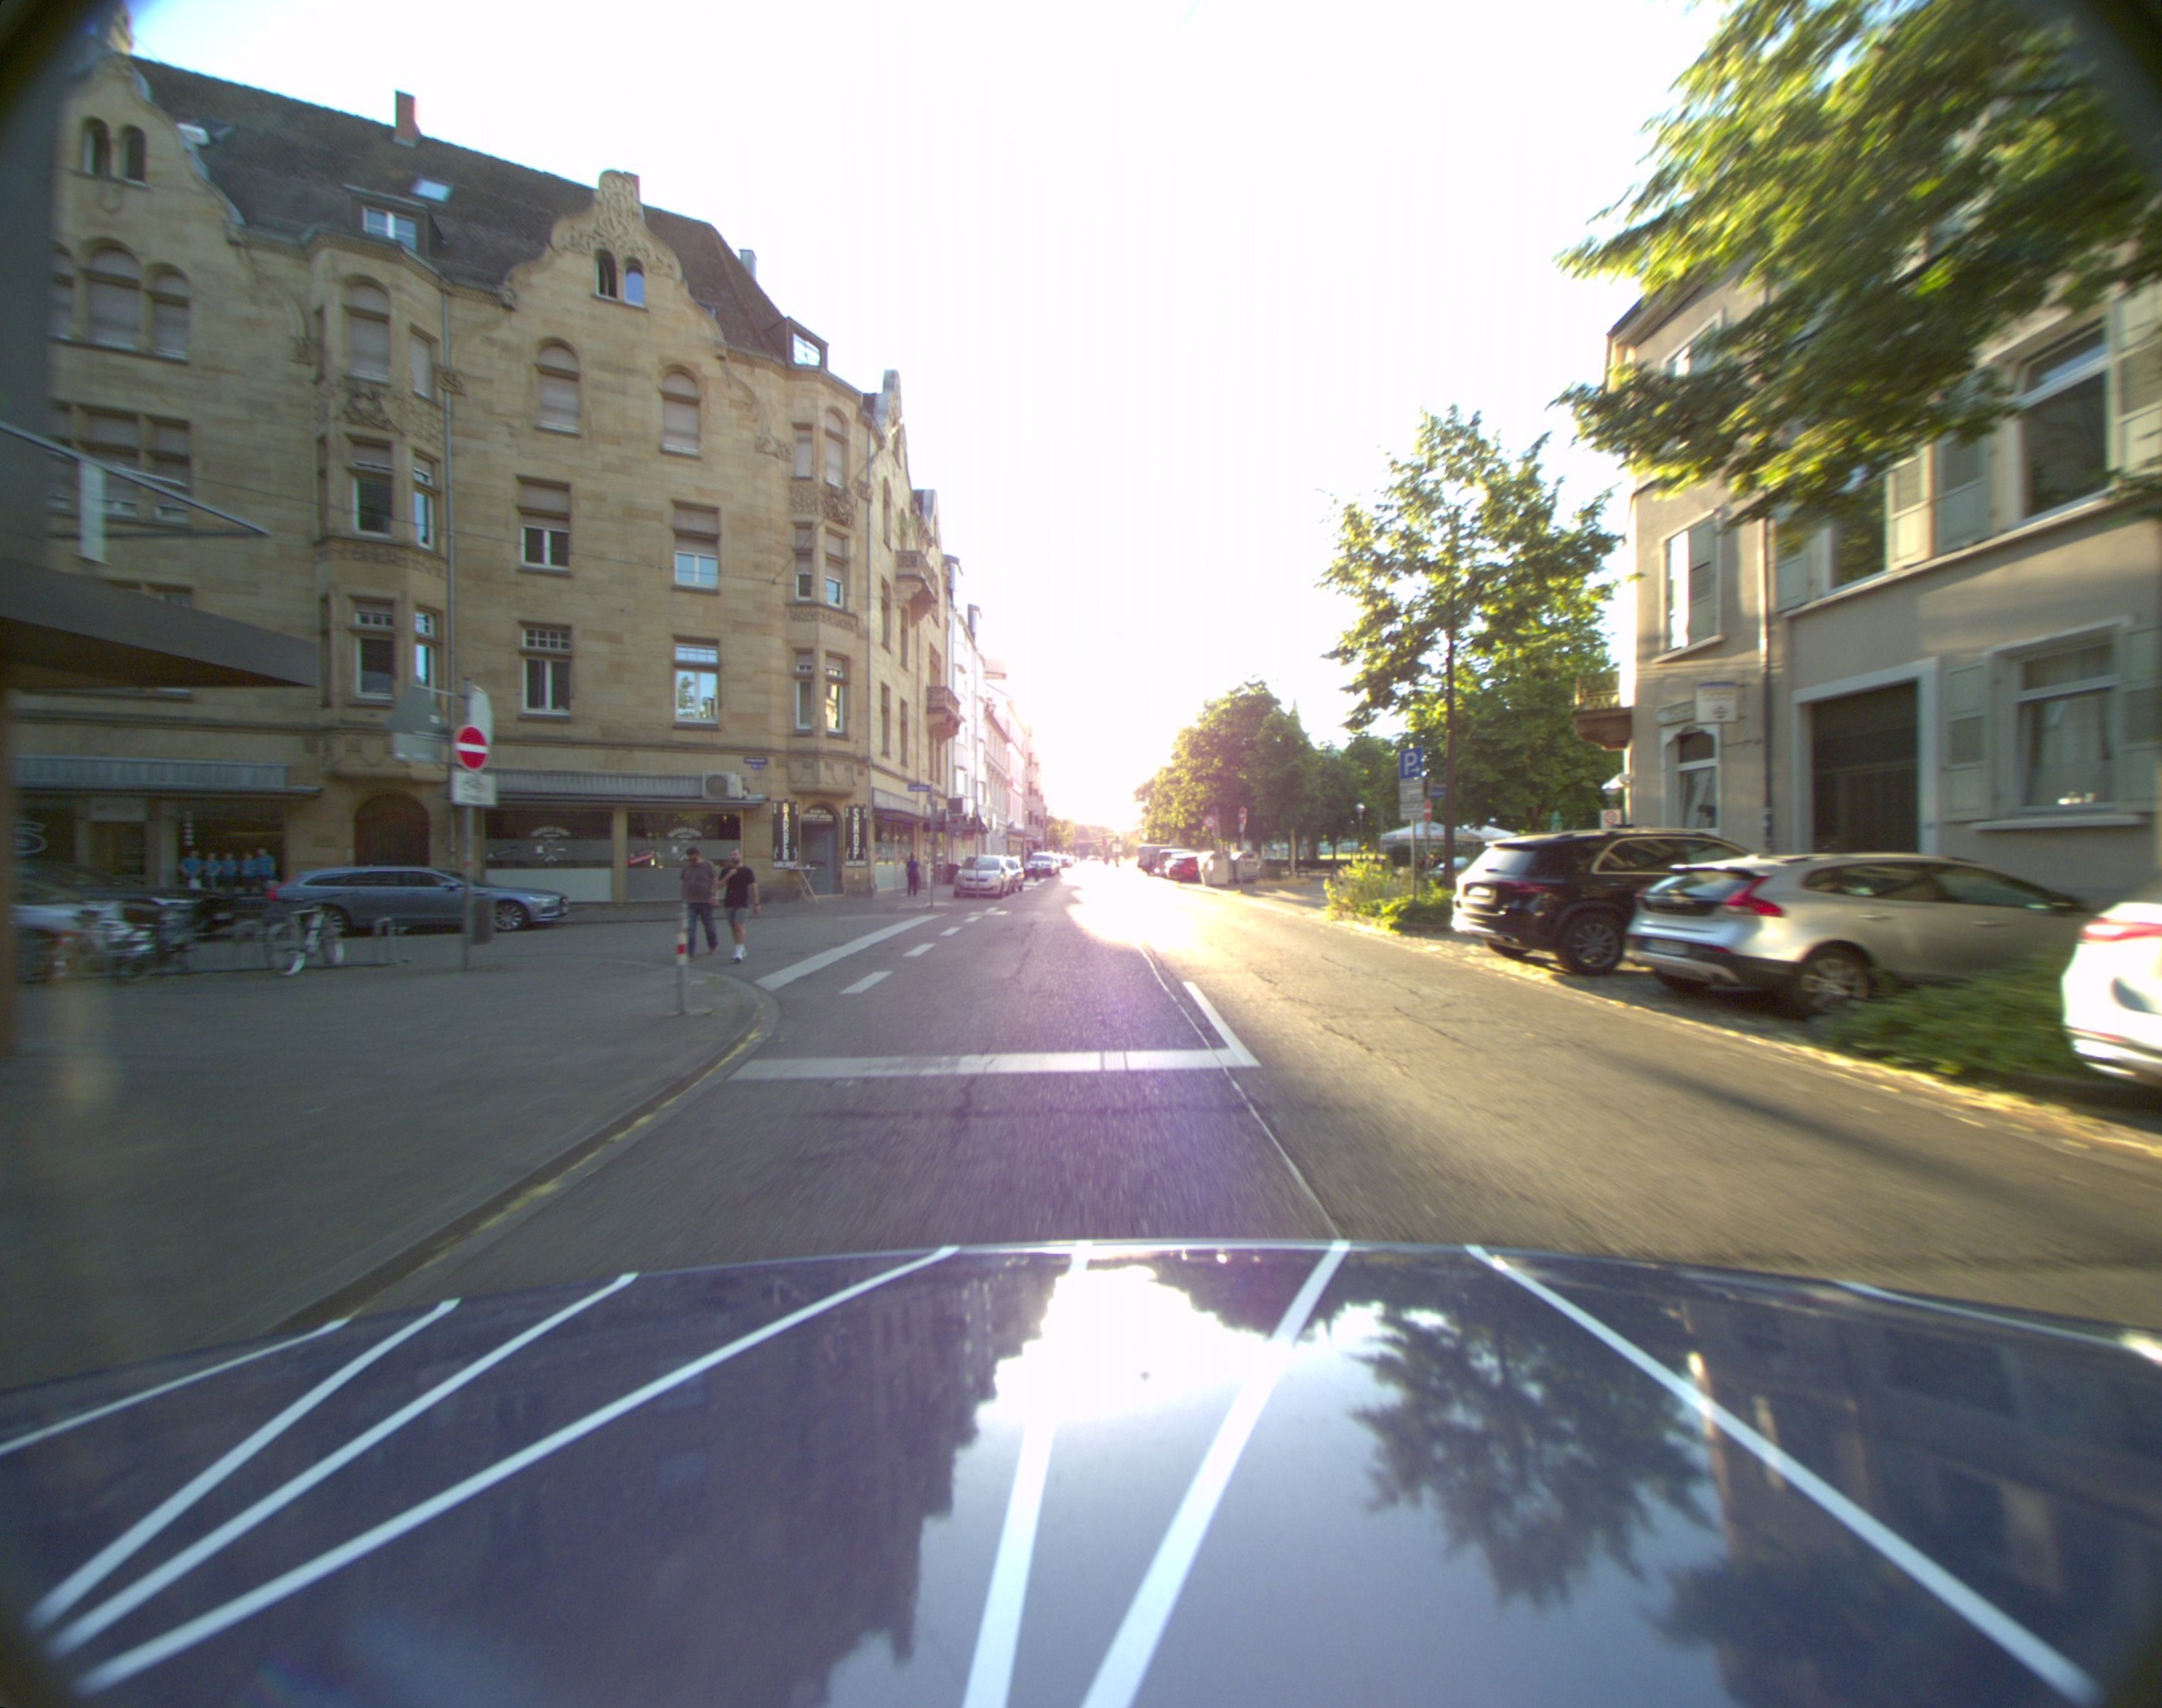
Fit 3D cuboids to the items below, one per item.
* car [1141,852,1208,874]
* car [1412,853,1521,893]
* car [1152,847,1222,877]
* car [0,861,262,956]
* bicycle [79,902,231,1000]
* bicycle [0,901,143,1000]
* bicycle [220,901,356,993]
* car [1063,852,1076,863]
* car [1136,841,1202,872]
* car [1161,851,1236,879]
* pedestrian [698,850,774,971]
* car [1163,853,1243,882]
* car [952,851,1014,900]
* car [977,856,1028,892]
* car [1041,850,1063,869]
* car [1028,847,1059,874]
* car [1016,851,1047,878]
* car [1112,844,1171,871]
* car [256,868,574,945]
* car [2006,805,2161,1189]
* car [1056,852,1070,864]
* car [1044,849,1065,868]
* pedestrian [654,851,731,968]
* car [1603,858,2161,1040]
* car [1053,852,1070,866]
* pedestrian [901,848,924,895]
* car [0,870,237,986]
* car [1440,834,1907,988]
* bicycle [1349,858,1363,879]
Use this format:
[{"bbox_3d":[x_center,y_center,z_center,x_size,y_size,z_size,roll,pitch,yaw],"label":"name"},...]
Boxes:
[{"bbox_3d":[7.043,0.652,57.024,4.577,1.573,2.131,-1,0,-28],"label":"car"},{"bbox_3d":[15.331,0.711,30.211,4.005,1.499,1.810,-1,1,-25],"label":"car"},{"bbox_3d":[6.998,0.493,49.999,4.579,1.922,1.896,-1,0,-37],"label":"car"},{"bbox_3d":[-19.036,0.962,14.128,4.772,1.639,1.976,0,0,-22],"label":"car"},{"bbox_3d":[-11.414,1.146,9.442,0.584,1.053,1.682,0,-2,-28],"label":"bicycle"},{"bbox_3d":[-12.320,1.123,9.254,0.584,1.053,1.682,0,-2,-31],"label":"bicycle"},{"bbox_3d":[-10.287,1.159,9.942,0.583,1.027,1.852,0,-2,-25],"label":"bicycle"},{"bbox_3d":[-1.798,0.485,118.353,1.804,1.570,4.403,2,0,1],"label":"car"},{"bbox_3d":[7.003,0.191,60.194,4.782,2.344,2.153,-1,0,-27],"label":"car"},{"bbox_3d":[7.262,0.636,46.726,4.579,1.623,1.896,-1,0,-37],"label":"car"},{"bbox_3d":[-5.168,0.823,11.429,0.756,1.748,0.812,0,1,0],"label":"pedestrian"},{"bbox_3d":[6.959,0.730,43.245,4.579,1.548,1.809,-1,0,-37],"label":"car"},{"bbox_3d":[-3.629,0.762,28.773,1.758,1.638,3.793,3,0,1],"label":"car"},{"bbox_3d":[-3.395,0.839,33.596,1.580,1.451,3.587,3,0,4],"label":"car"},{"bbox_3d":[-2.713,0.501,72.079,1.758,1.638,3.793,3,0,1],"label":"car"},{"bbox_3d":[-2.894,0.484,59.639,1.867,1.900,4.256,3,0,4],"label":"car"},{"bbox_3d":[-3.288,0.677,51.215,1.758,1.638,3.793,3,0,1],"label":"car"},{"bbox_3d":[5.428,0.318,67.923,4.782,2.344,2.153,-1,0,-27],"label":"car"},{"bbox_3d":[-14.006,1.044,16.413,4.772,1.410,1.976,0,0,-23],"label":"car"},{"bbox_3d":[7.387,0.597,3.051,4.718,1.800,2.053,-2,0,2],"label":"car"},{"bbox_3d":[-2.457,0.519,104.493,1.804,1.570,4.403,2,0,1],"label":"car"},{"bbox_3d":[-2.713,0.429,78.863,1.804,1.909,4.403,2,0,1],"label":"car"},{"bbox_3d":[-5.996,0.826,11.761,0.756,1.748,0.812,0,1,0],"label":"pedestrian"},{"bbox_3d":[7.521,0.807,7.240,3.825,1.453,1.821,-1,0,1],"label":"car"},{"bbox_3d":[-2.400,0.591,92.940,1.804,1.570,4.403,2,0,1],"label":"car"},{"bbox_3d":[-6.039,0.613,27.198,0.599,1.653,0.603,1,1,6],"label":"pedestrian"},{"bbox_3d":[-15.389,1.011,10.560,4.548,1.478,1.792,0,0,-23],"label":"car"},{"bbox_3d":[7.410,0.652,9.894,4.567,1.772,1.946,-1,1,0],"label":"car"},{"bbox_3d":[13.478,0.711,37.254,0.581,1.027,1.858,-1,-2,22],"label":"bicycle"}]
